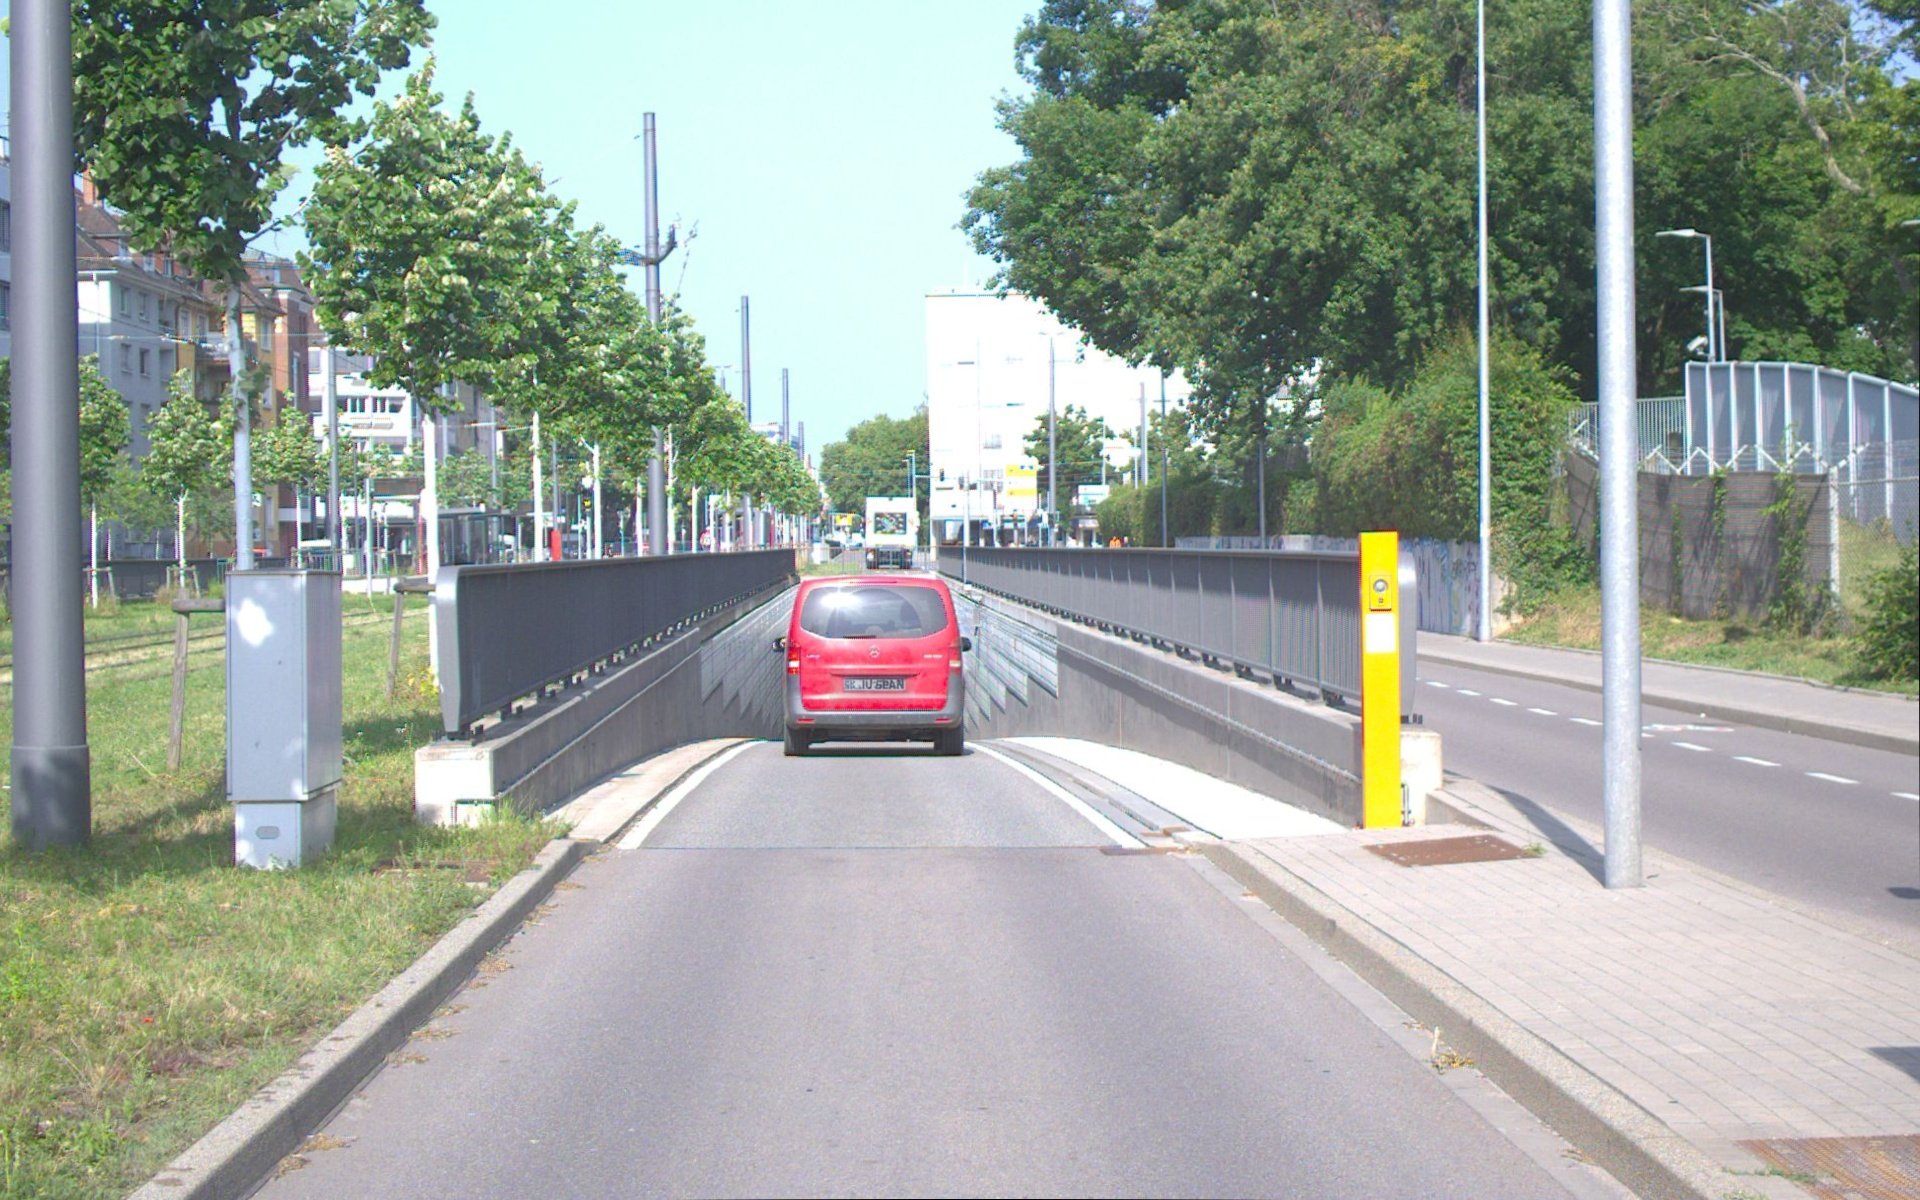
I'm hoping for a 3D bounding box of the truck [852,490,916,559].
[{"bbox_3d":[-4.252,-4.181,191.287,3.390,3.713,10.452,-1,1,-2],"label":"truck"}]

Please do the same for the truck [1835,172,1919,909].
[{"bbox_3d":[5.304,-0.201,11.454,2.502,3.050,7.821,1,1,-2],"label":"truck"}]

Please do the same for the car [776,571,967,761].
[{"bbox_3d":[-0.890,0.653,36.805,1.901,1.853,4.000,1,1,0],"label":"car"}]
